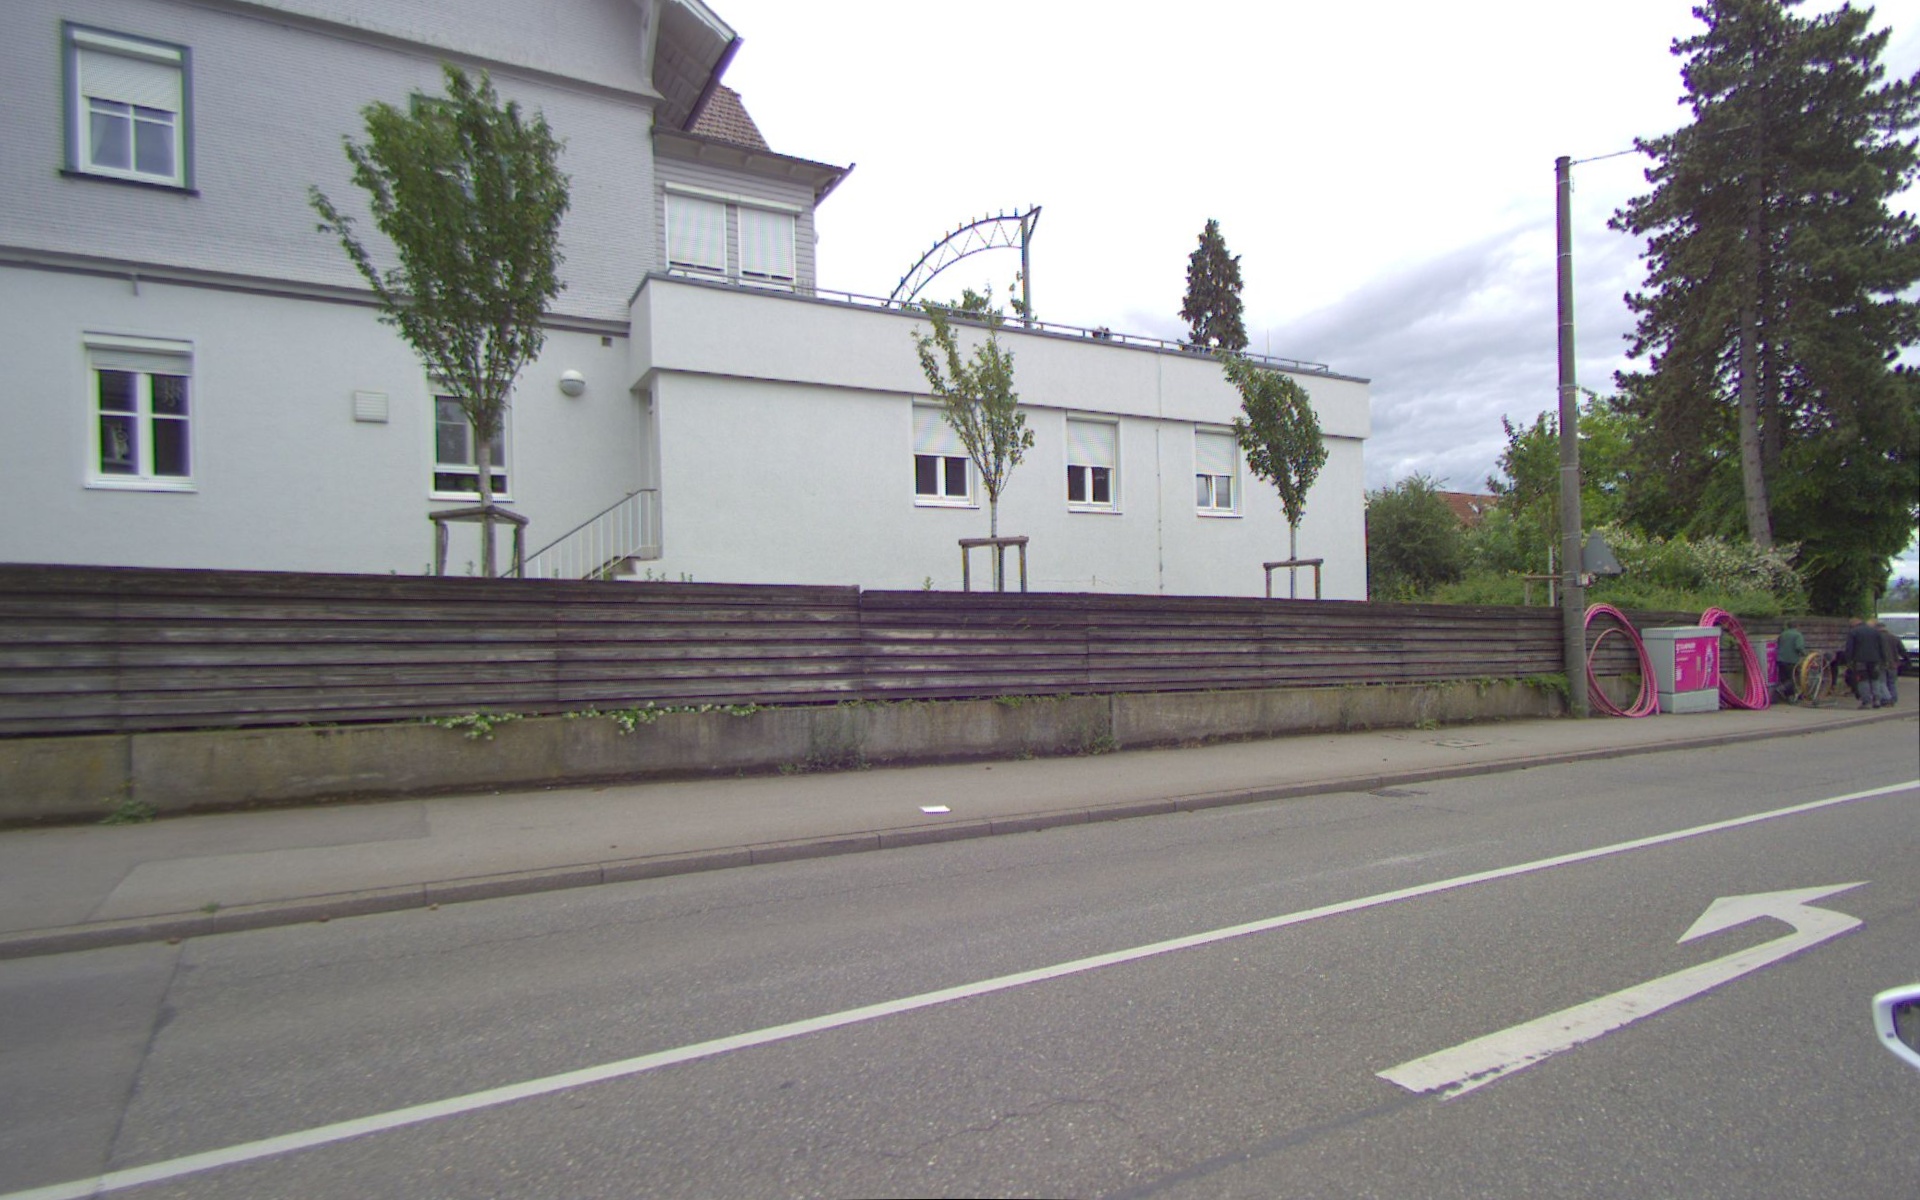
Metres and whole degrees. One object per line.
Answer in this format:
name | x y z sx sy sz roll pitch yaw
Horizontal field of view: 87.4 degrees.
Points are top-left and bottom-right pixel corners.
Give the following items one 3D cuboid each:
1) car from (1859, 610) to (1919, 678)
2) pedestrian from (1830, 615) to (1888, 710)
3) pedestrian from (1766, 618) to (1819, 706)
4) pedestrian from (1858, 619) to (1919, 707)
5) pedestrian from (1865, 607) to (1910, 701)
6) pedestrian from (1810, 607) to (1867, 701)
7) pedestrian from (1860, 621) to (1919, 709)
car | 33.757 1.531 35.834 2.253 2.257 6.441 0 -2 40
pedestrian | 17.892 1.226 20.004 0.739 1.861 0.613 0 -1 31
pedestrian | 17.317 1.266 20.909 0.805 1.787 0.864 0 -1 37
pedestrian | 19.033 1.280 20.539 0.737 1.757 0.696 0 -1 14
pedestrian | 20.739 1.198 22.456 0.699 2.040 1.017 0 -1 45
pedestrian | 19.516 1.181 22.325 0.802 2.040 0.702 1 -1 -27
pedestrian | 19.481 1.342 21.043 0.858 1.777 0.691 0 -1 36
